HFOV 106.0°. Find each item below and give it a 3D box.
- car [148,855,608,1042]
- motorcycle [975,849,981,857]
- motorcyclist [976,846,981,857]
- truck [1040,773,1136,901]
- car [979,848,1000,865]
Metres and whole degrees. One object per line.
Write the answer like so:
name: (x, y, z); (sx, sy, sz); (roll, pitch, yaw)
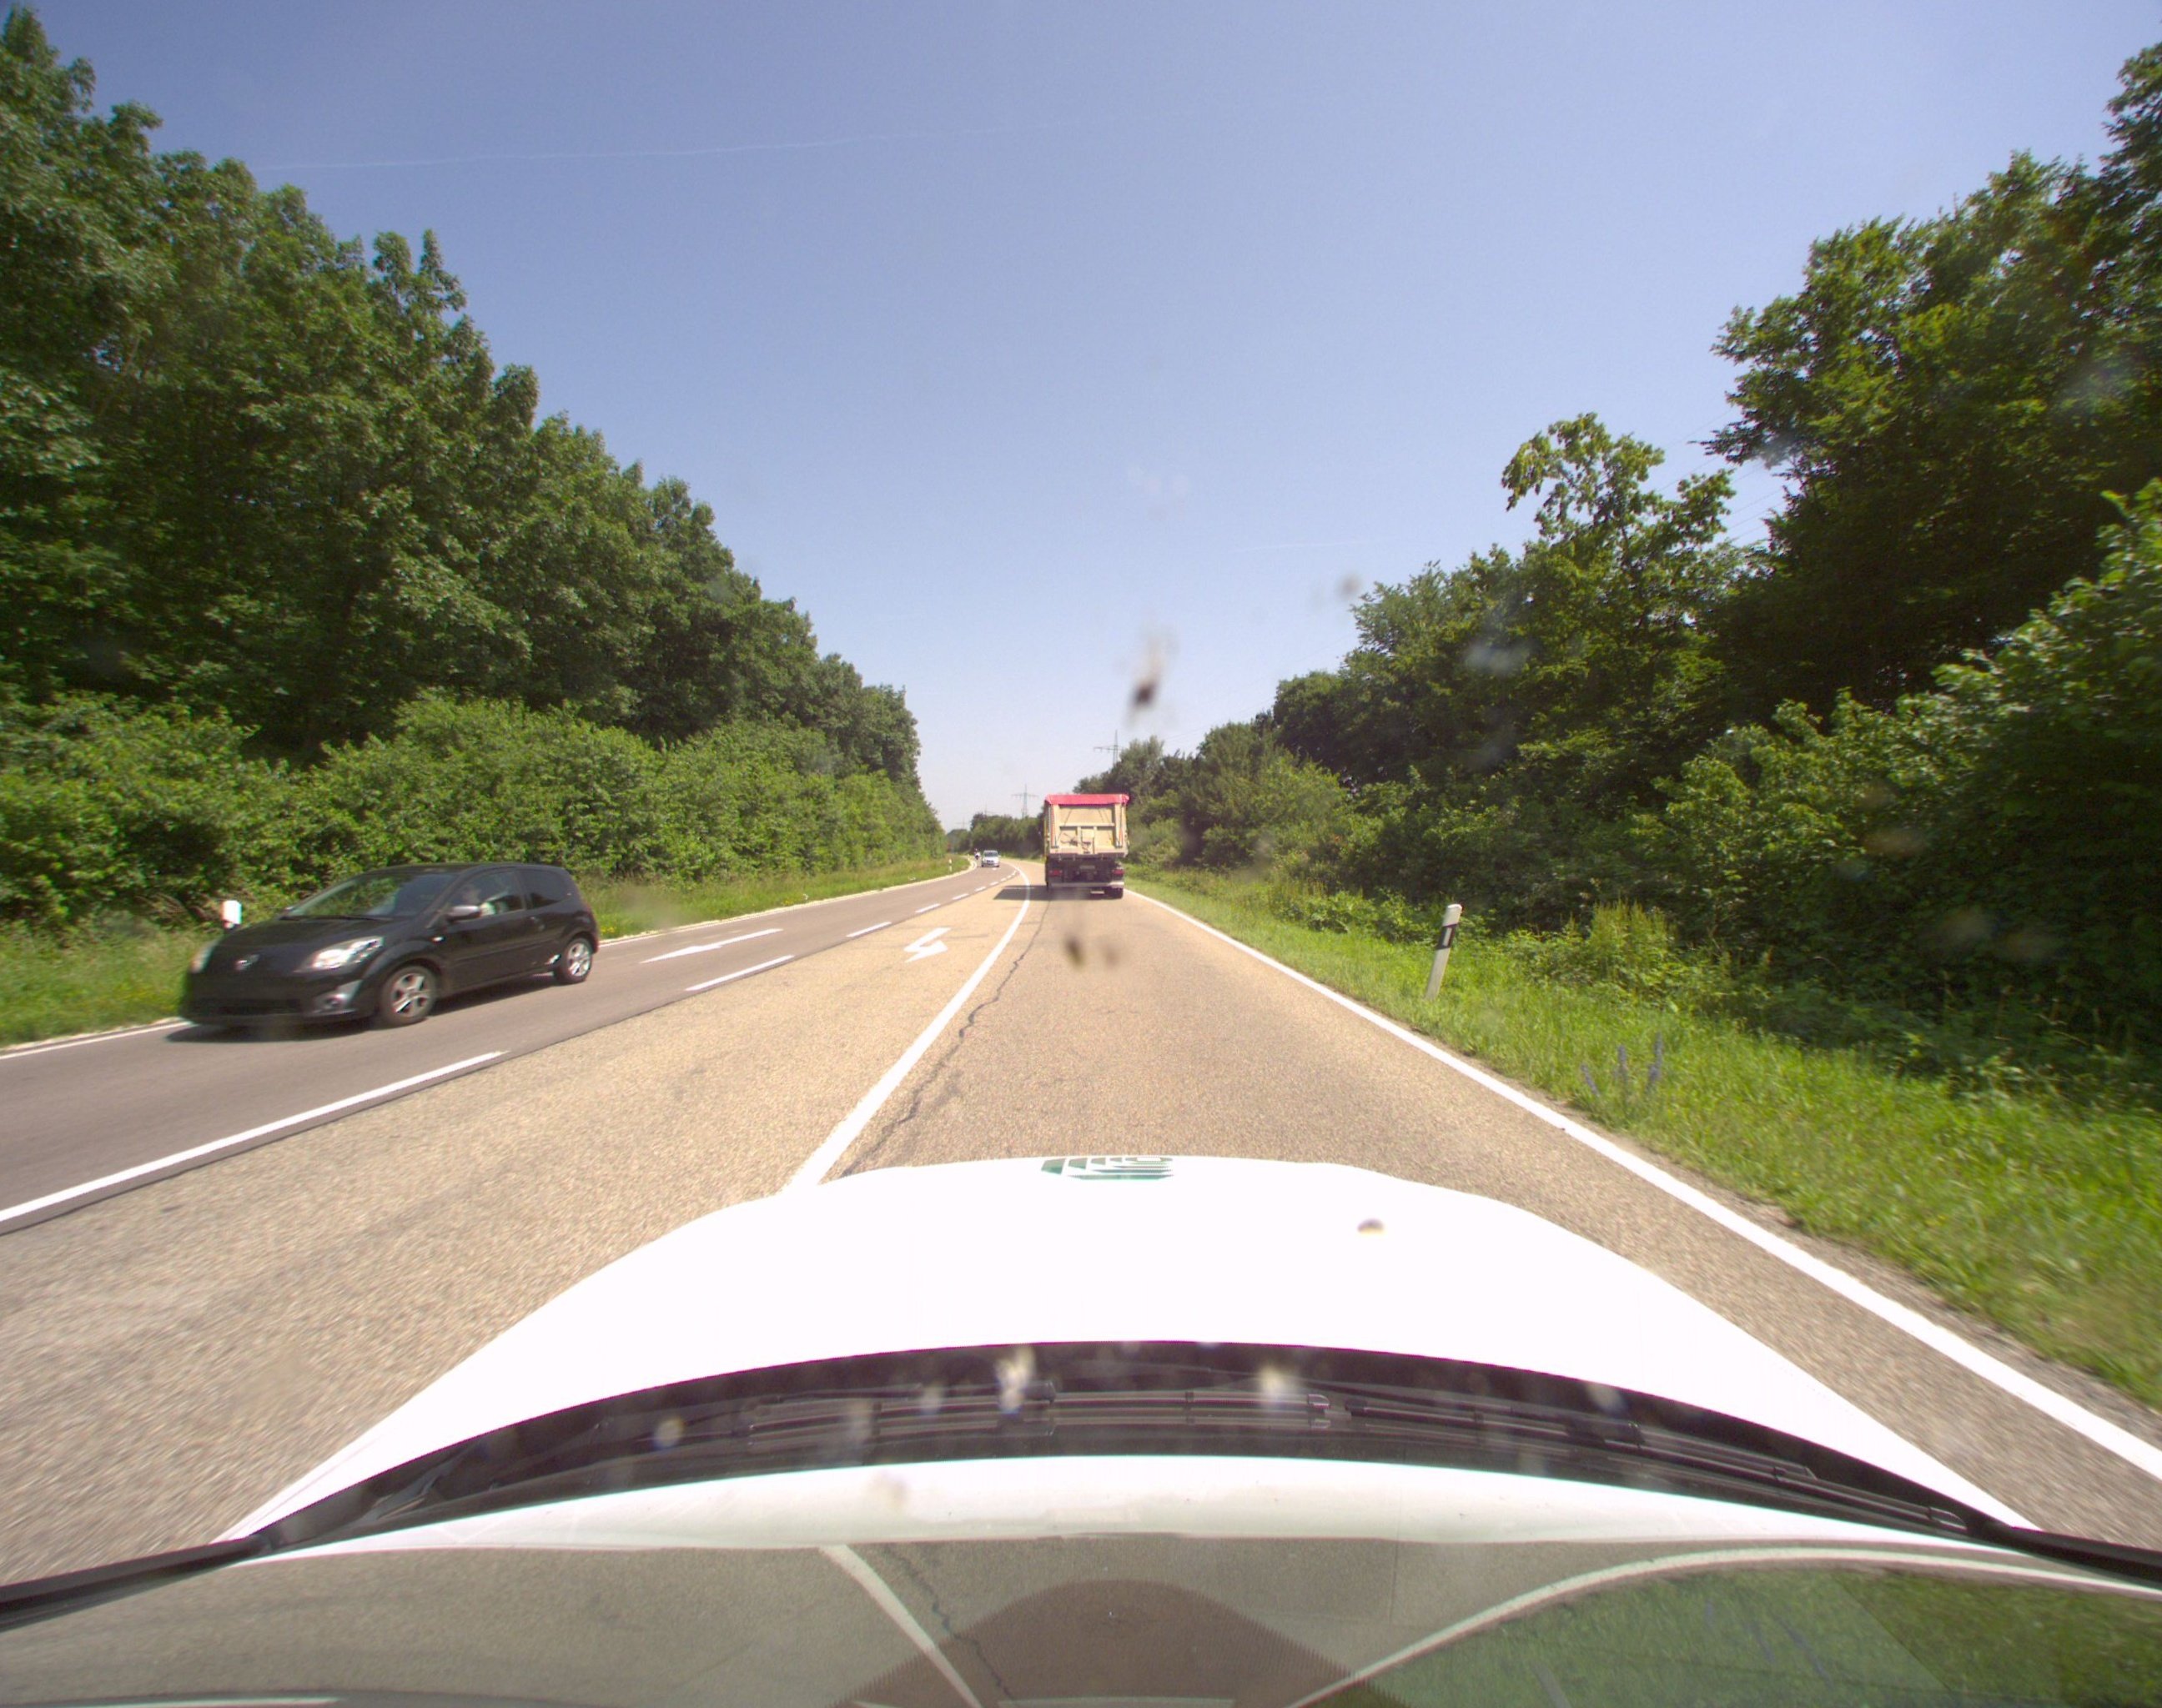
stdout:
car: (-6.776, 0.777, 8.427); (1.608, 1.502, 3.553); (0, 0, 1)
motorcycle: (-16.922, -0.147, 133.893); (0.946, 1.251, 2.676); (0, 0, -6)
motorcyclist: (-16.948, -0.404, 134.180); (0.830, 1.752, 0.621); (0, 0, -7)
truck: (-0.067, -0.573, 31.294); (2.887, 3.962, 11.917); (0, 0, -3)
car: (-9.027, 0.231, 80.511); (1.798, 1.636, 4.207); (0, 0, -3)
